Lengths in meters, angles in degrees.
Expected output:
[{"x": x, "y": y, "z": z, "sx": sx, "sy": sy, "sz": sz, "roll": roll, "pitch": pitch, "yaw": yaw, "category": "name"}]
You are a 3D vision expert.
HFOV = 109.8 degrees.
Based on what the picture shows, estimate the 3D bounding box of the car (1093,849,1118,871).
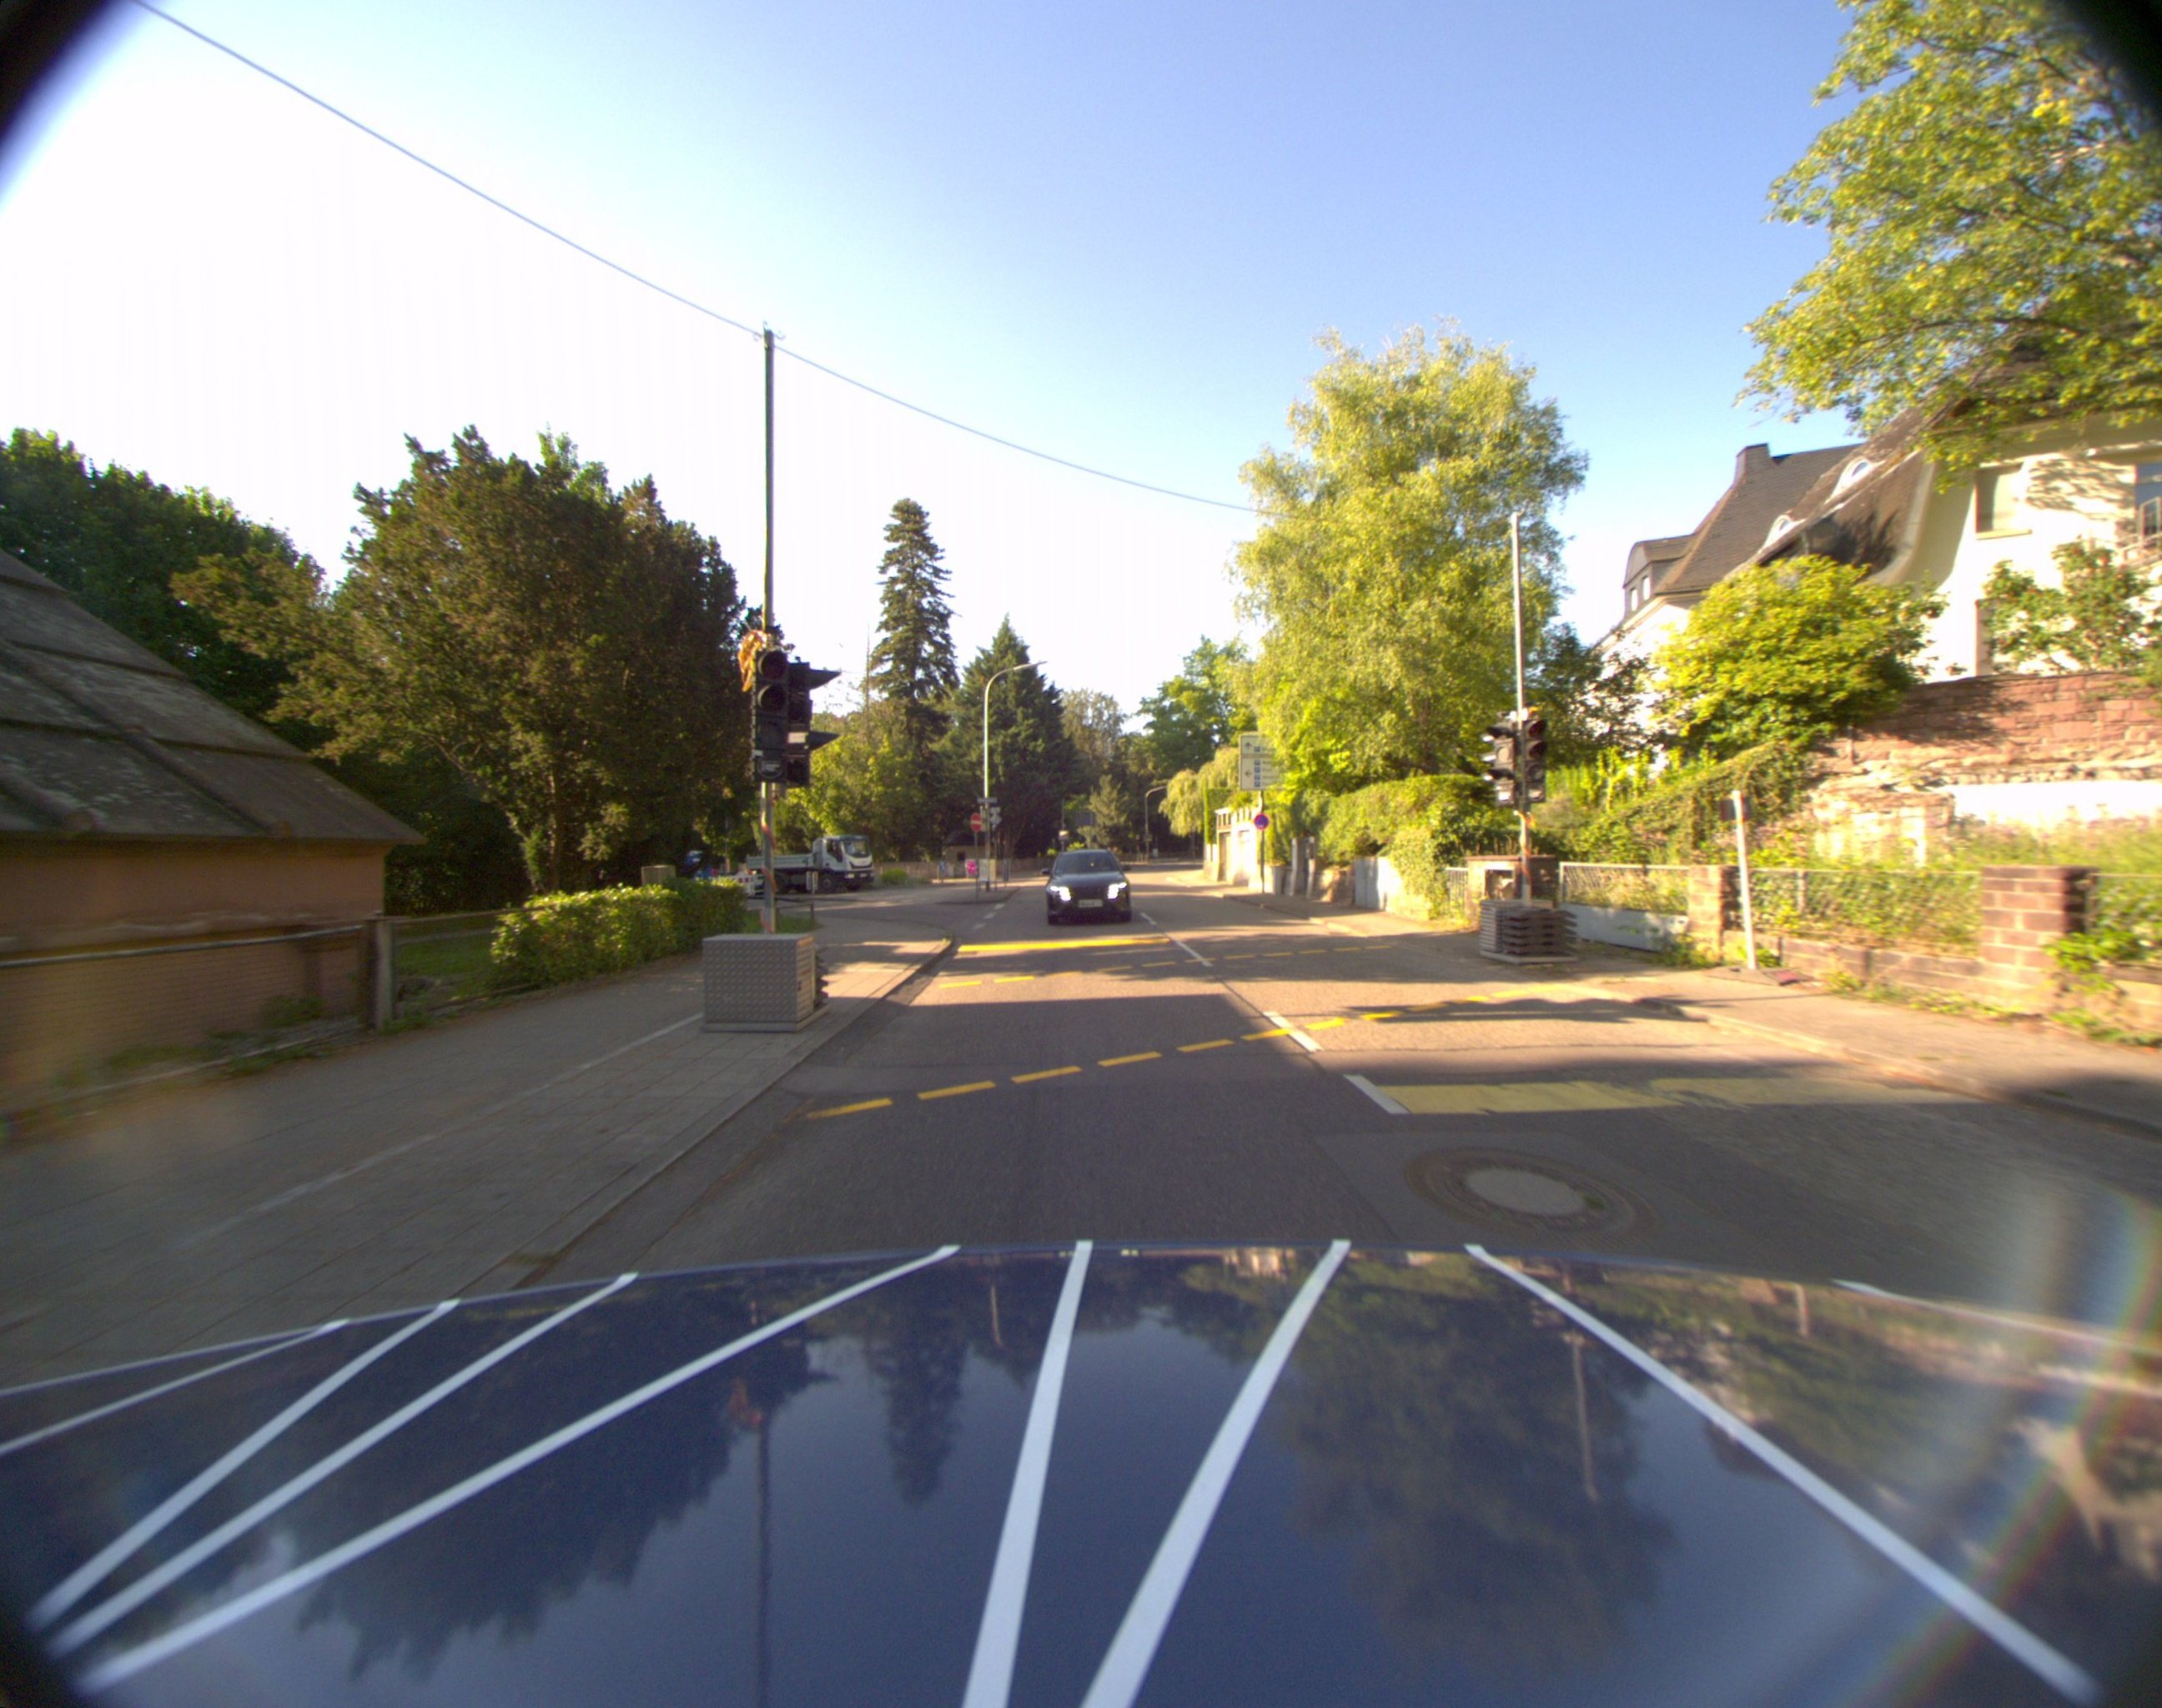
[{"x": 1.802, "y": 0.403, "z": 54.795, "sx": 1.662, "sy": 1.468, "sz": 3.684, "roll": -2, "pitch": 1, "yaw": 4, "category": "car"}]

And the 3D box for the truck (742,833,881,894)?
[{"x": -13.623, "y": 0.499, "z": 38.427, "sx": 6.497, "sy": 2.736, "sz": 2.373, "roll": -3, "pitch": 1, "yaw": 20, "category": "truck"}]

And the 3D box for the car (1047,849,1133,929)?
[{"x": 0.106, "y": 0.736, "z": 18.297, "sx": 1.788, "sy": 1.639, "sz": 4.473, "roll": -1, "pitch": 0, "yaw": -2, "category": "car"}]
